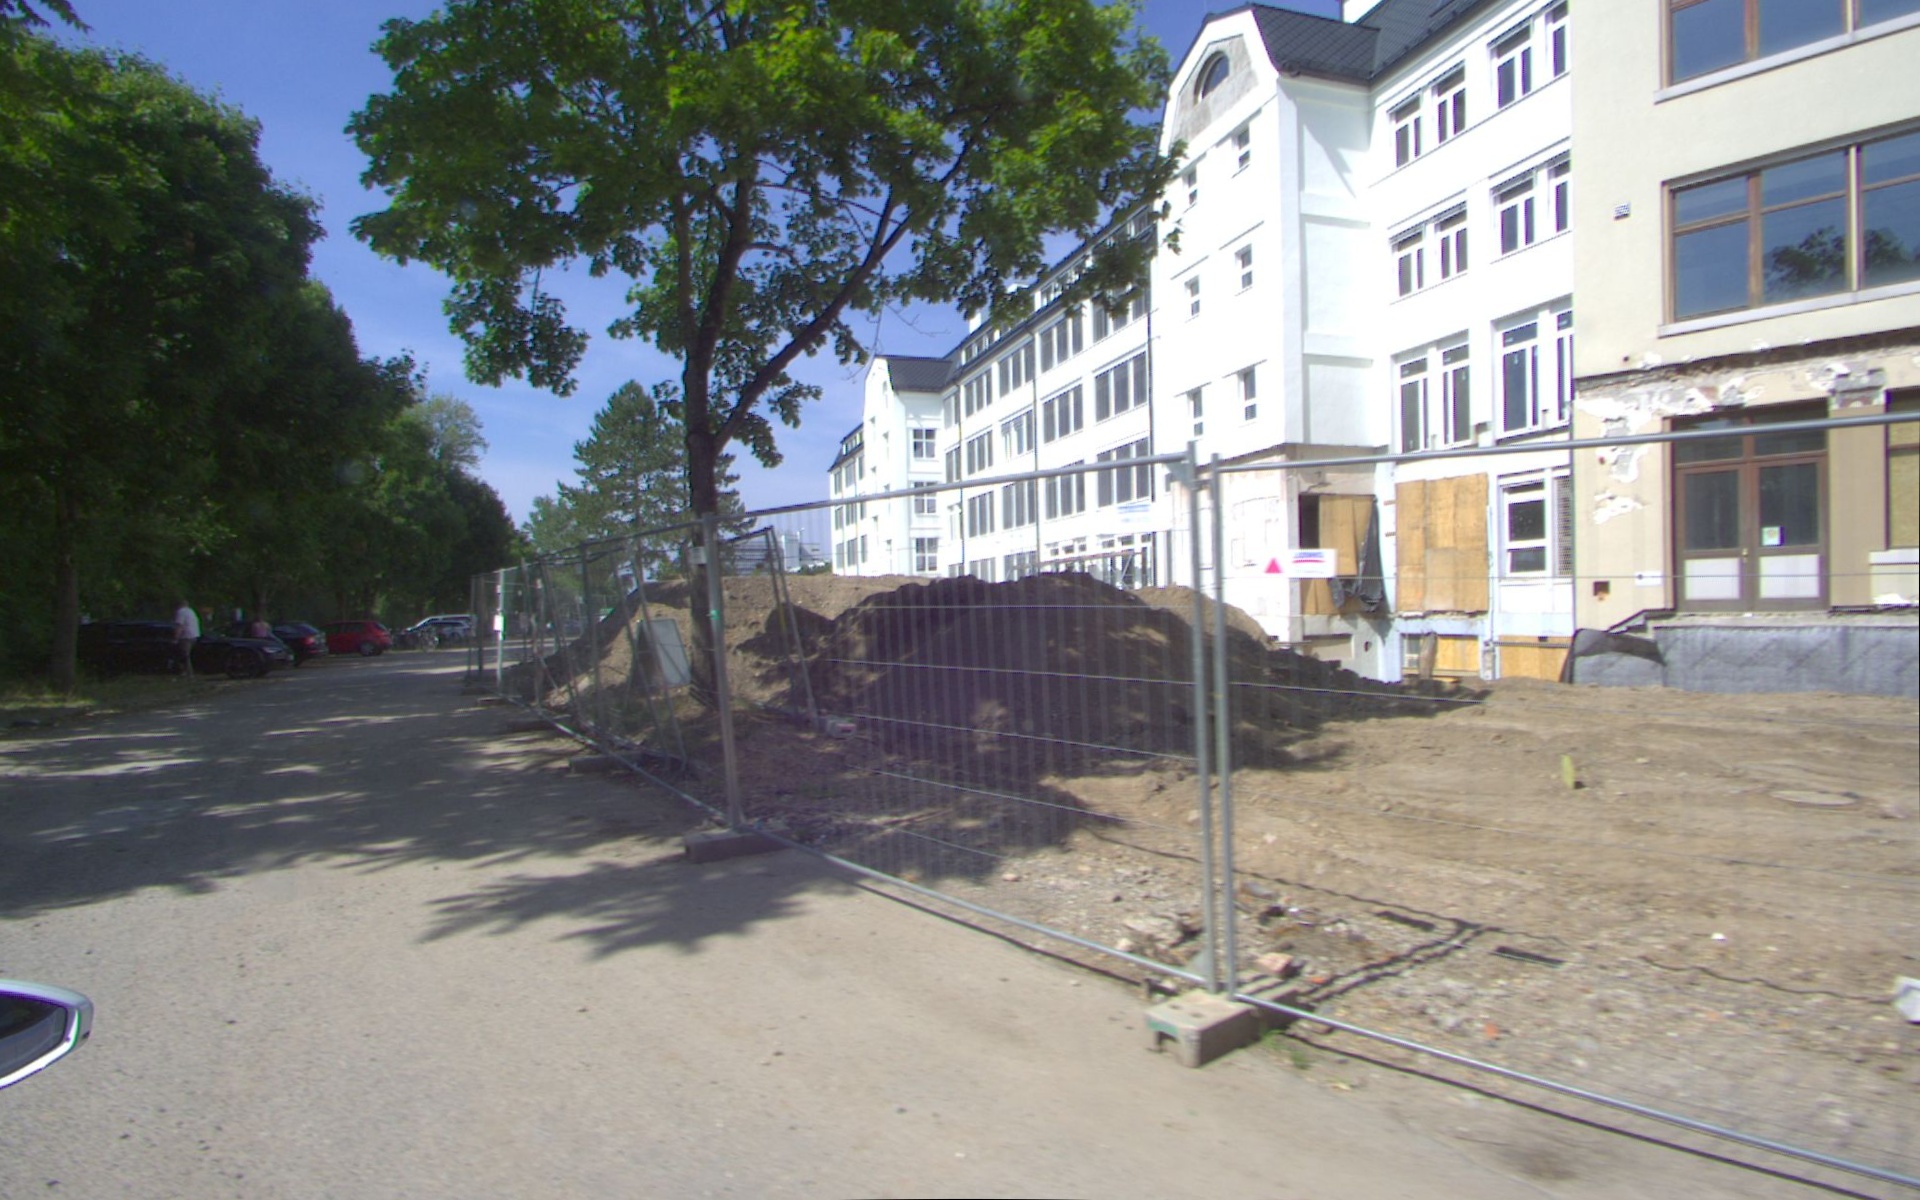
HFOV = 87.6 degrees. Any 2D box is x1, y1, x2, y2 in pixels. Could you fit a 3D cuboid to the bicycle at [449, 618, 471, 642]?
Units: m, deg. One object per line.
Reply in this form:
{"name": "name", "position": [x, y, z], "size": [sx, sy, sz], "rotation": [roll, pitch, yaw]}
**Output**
{"name": "bicycle", "position": [-28.627, 1.698, 57.390], "size": [0.805, 1.301, 2.740], "rotation": [-1, 0, -20]}

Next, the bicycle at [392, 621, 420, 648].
{"name": "bicycle", "position": [-28.020, 1.703, 50.661], "size": [0.805, 1.301, 2.677], "rotation": [-1, 0, -20]}

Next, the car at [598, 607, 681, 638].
{"name": "car", "position": [-17.512, 1.211, 54.848], "size": [4.236, 1.639, 1.755], "rotation": [-1, 0, -17]}

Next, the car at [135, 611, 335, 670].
{"name": "car", "position": [-21.595, 1.160, 30.099], "size": [4.602, 1.606, 1.990], "rotation": [0, 1, -29]}

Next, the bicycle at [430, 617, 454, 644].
{"name": "bicycle", "position": [-26.029, 1.535, 50.315], "size": [0.704, 1.301, 2.631], "rotation": [-1, 0, -20]}

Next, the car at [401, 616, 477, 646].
{"name": "car", "position": [-32.514, 1.927, 62.613], "size": [3.929, 1.795, 1.764], "rotation": [0, 0, -17]}

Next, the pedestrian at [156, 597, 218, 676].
{"name": "pedestrian", "position": [-18.102, 0.846, 23.467], "size": [1.002, 1.805, 0.816], "rotation": [-1, 0, -29]}

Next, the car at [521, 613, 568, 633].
{"name": "car", "position": [-45.203, 2.508, 108.983], "size": [4.408, 2.040, 1.998], "rotation": [-1, 0, -12]}

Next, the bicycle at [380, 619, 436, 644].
{"name": "bicycle", "position": [-30.508, 1.714, 55.406], "size": [2.642, 1.301, 0.815], "rotation": [-1, 0, -26]}

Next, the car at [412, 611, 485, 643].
{"name": "car", "position": [-33.403, 1.738, 65.472], "size": [3.929, 2.040, 1.764], "rotation": [-1, 0, -17]}

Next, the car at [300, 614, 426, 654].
{"name": "car", "position": [-24.735, 1.374, 41.655], "size": [4.228, 1.544, 1.887], "rotation": [-1, 0, -22]}

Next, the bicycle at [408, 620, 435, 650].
{"name": "bicycle", "position": [-24.584, 1.562, 45.749], "size": [0.704, 1.301, 2.677], "rotation": [-1, 0, -20]}

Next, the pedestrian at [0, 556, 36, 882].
{"name": "pedestrian", "position": [-5.642, 0.642, 5.439], "size": [0.843, 1.751, 0.752], "rotation": [1, 1, 36]}

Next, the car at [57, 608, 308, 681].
{"name": "car", "position": [-19.011, 1.025, 24.802], "size": [4.602, 1.606, 1.990], "rotation": [0, 1, -29]}

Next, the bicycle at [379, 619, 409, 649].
{"name": "bicycle", "position": [-26.087, 1.554, 46.197], "size": [0.704, 1.301, 2.784], "rotation": [-1, 0, -20]}

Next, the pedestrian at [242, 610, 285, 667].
{"name": "pedestrian", "position": [-20.275, 1.115, 29.162], "size": [0.914, 1.616, 0.782], "rotation": [-1, 1, -28]}
